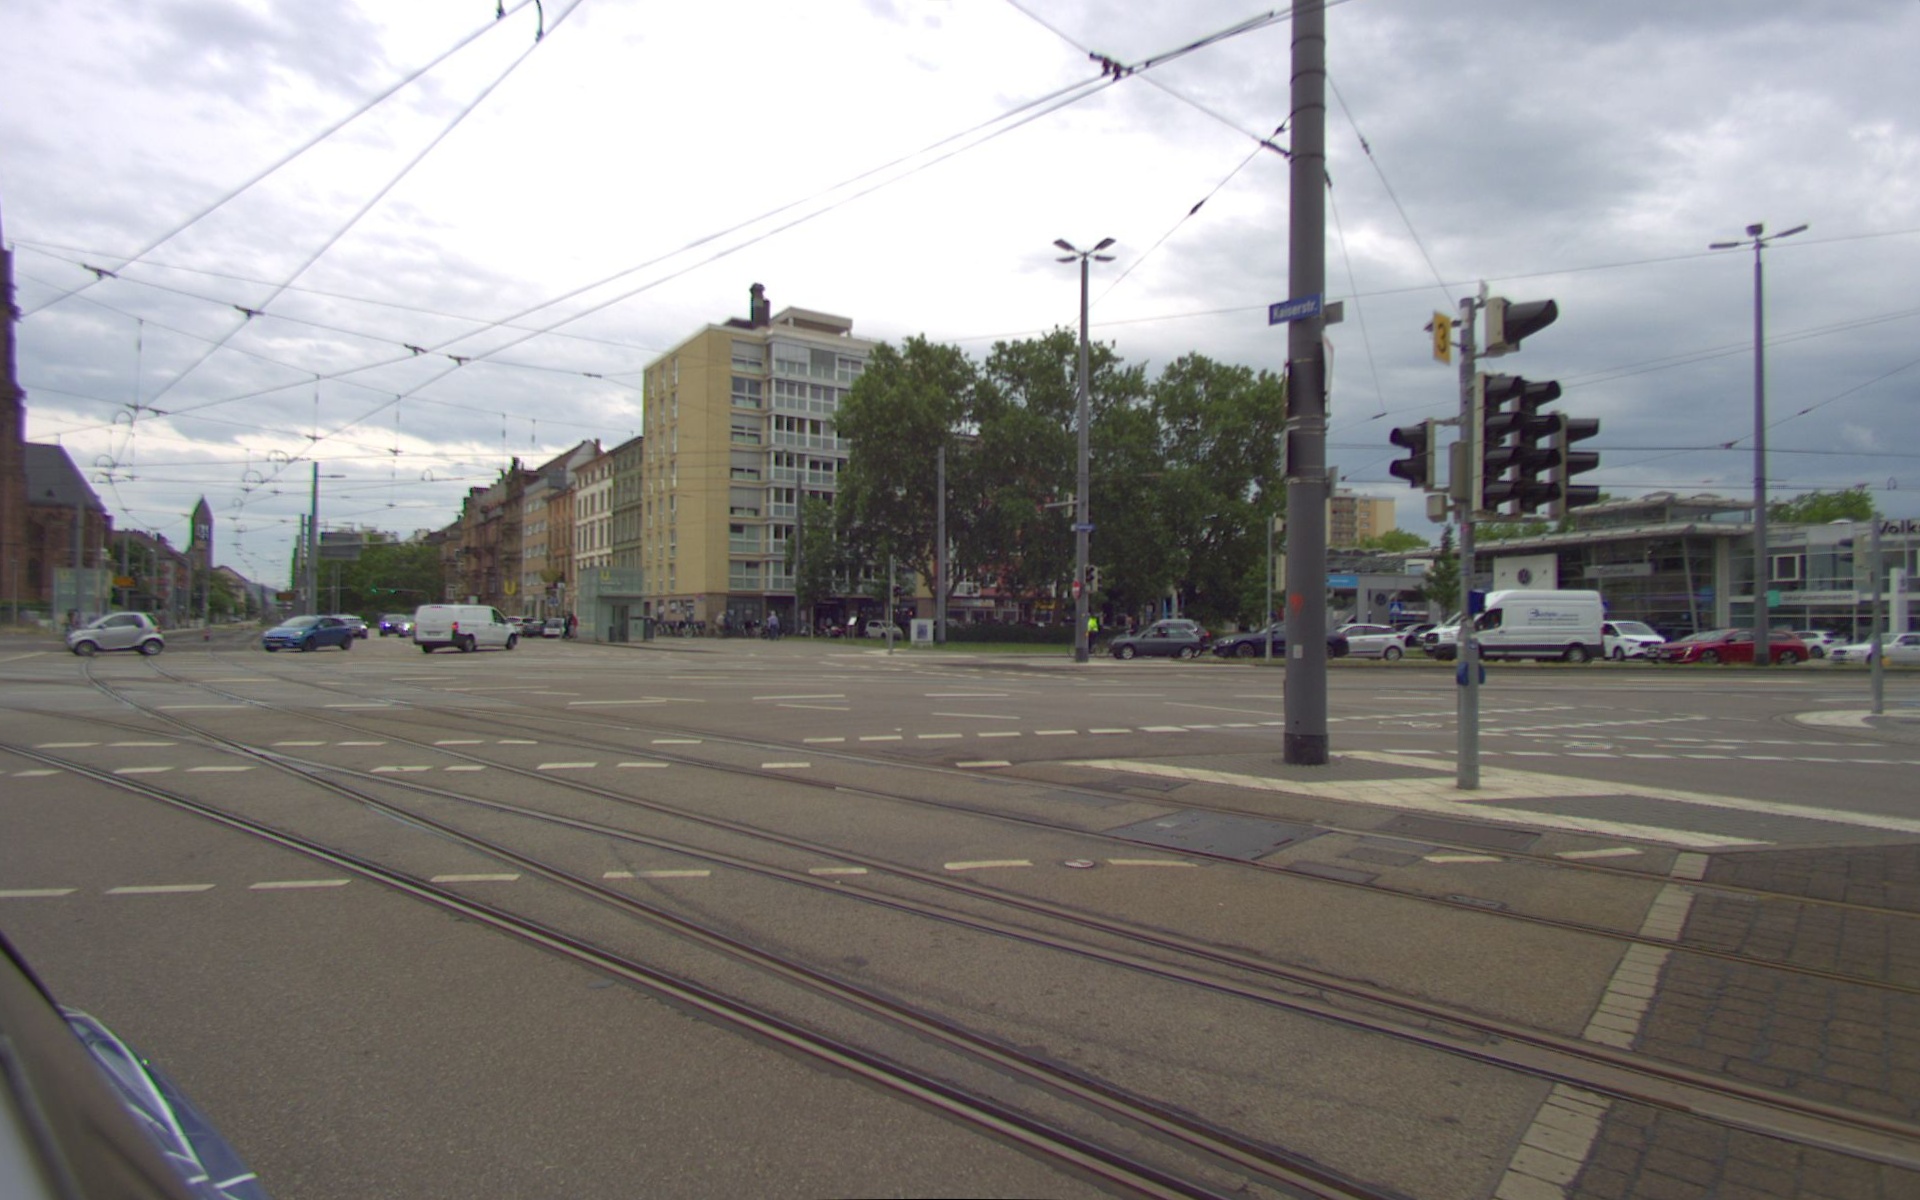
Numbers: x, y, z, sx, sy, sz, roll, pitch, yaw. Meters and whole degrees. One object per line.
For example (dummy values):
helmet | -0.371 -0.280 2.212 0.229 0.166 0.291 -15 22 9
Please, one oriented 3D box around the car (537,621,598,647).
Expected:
car | -28.597 2.477 73.858 2.066 1.768 3.972 1 0 21

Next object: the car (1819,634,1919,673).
car | 36.079 2.036 38.560 4.694 1.431 1.995 0 -1 8

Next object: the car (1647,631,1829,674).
car | 27.488 1.839 35.888 4.740 1.431 1.997 0 -1 5

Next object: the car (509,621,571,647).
car | -31.121 2.517 75.137 2.066 1.768 3.972 1 0 21

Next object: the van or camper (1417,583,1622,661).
van or camper | 19.893 0.777 36.171 5.964 2.630 2.424 1 0 -2

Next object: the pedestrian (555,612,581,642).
pedestrian | -23.797 1.646 61.404 1.161 1.798 1.042 1 -2 -39

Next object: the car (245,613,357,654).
car | -27.429 1.354 42.310 1.973 1.504 4.057 -2 0 1

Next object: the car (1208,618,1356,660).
car | 11.371 1.380 35.950 4.593 1.431 2.001 0 -1 -2

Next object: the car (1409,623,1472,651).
car | 36.598 2.785 77.156 3.933 2.029 2.005 1 0 -14

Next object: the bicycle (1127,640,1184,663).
bicycle | 7.997 2.115 41.439 2.193 0.933 0.520 0 -1 2

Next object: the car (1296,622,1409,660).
car | 15.032 1.555 38.889 3.683 1.431 1.641 0 -1 -2

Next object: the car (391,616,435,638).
car | -36.326 1.789 67.154 1.967 1.453 4.009 1 -2 -37

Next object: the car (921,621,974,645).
car | -0.988 2.526 78.153 1.968 1.719 4.008 1 0 -39

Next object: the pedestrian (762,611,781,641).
pedestrian | -11.038 1.529 59.307 0.916 1.732 0.697 0 -1 43

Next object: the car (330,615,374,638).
car | -38.973 1.691 64.854 1.967 1.453 4.009 1 -2 -37

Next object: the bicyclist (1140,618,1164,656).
bicyclist | 7.860 1.516 41.446 0.845 1.519 0.567 -1 -1 2

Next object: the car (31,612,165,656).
car | -30.962 1.193 36.415 3.565 1.504 2.003 1 -1 -42

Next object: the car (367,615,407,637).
car | -41.585 1.878 73.437 1.968 1.541 4.008 1 -2 -38

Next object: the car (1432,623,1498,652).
car | 37.094 2.776 74.330 3.933 2.029 2.005 1 0 -14

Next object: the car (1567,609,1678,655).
car | 31.913 1.493 48.945 2.090 2.029 4.784 1 0 -2

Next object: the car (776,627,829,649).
car | -11.261 2.687 72.200 1.968 1.564 4.008 1 -2 -38

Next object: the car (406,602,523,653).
car | -20.189 1.069 41.545 1.900 1.896 5.079 1 0 6

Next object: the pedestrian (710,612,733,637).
pedestrian | -16.001 1.655 68.015 1.024 1.652 1.334 1 -2 -38

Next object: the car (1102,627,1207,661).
car | 7.538 1.704 39.384 3.683 1.256 1.693 0 -1 -2

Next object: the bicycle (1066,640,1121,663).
bicycle | 5.508 2.121 41.682 2.193 0.937 0.520 0 -1 2

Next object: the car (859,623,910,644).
car | -5.792 2.506 77.080 1.968 1.564 4.008 1 -2 -38

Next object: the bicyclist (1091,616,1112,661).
bicyclist | 5.805 1.574 41.596 0.787 1.817 0.629 0 -1 2

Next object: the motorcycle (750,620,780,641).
motorcycle | -11.880 1.834 61.725 0.850 1.187 2.554 1 0 -34
